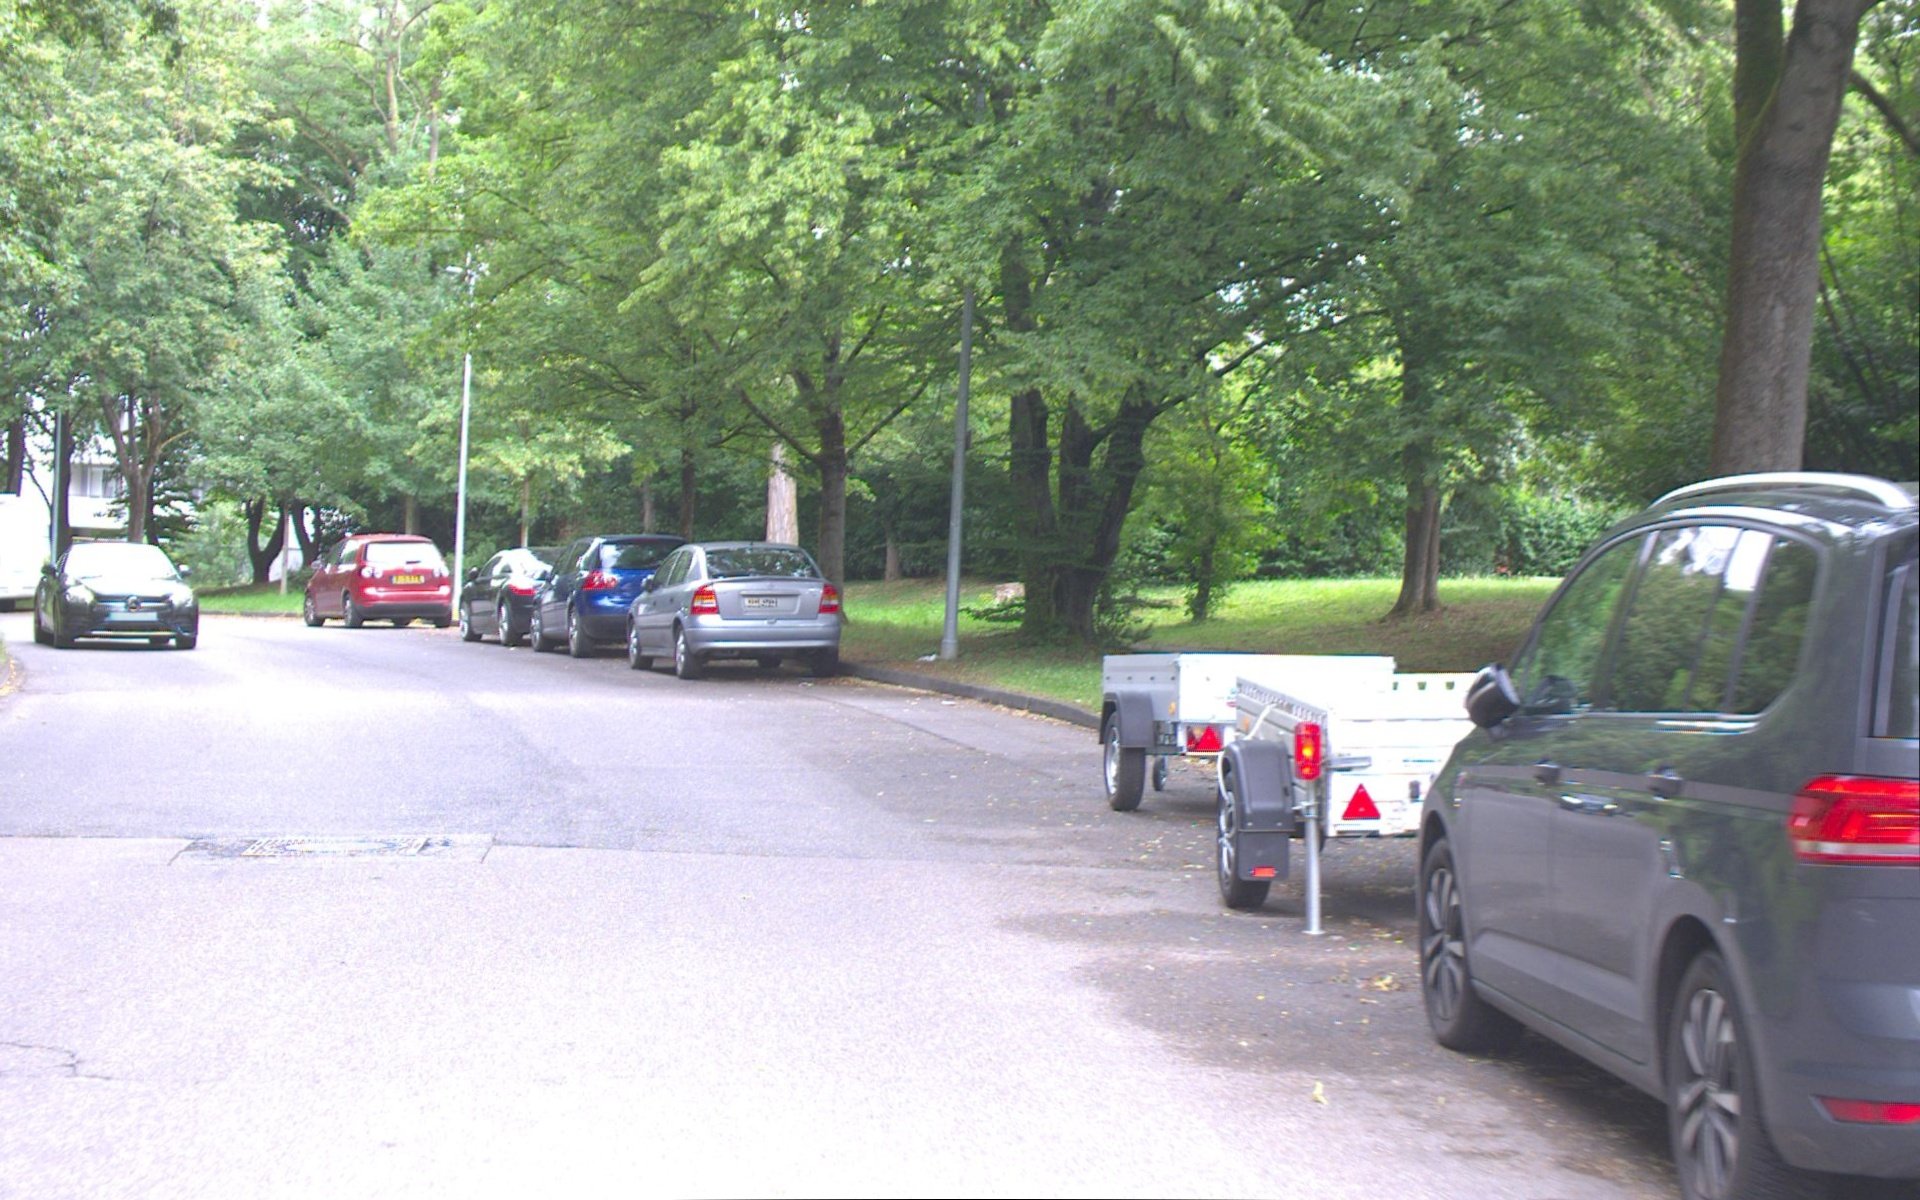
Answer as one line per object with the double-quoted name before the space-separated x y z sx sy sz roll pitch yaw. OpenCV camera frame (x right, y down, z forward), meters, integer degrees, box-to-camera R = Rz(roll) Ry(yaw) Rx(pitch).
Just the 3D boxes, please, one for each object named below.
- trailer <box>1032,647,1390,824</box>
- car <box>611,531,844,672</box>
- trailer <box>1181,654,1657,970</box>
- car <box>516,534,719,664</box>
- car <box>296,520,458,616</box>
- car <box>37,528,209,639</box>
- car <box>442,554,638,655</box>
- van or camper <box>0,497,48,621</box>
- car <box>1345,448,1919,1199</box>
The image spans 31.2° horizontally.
"trailer" 1.346 0.731 19.536 1.363 0.845 3.279 2 0 -7
"car" -2.561 -0.011 37.071 1.717 1.426 3.950 0 1 -16
"trailer" 1.837 0.823 14.760 1.357 0.965 3.893 2 1 -2
"car" -4.387 -0.012 43.543 1.713 1.504 4.182 2 -1 -17
"car" -9.915 -0.523 58.257 1.738 1.557 4.001 0 0 -25
"car" -11.511 -0.223 47.075 1.790 1.384 4.493 2 -1 -20
"car" -5.919 0.047 48.066 1.749 1.332 4.417 1 0 -20
"van or camper" -24.530 -1.023 84.605 2.429 2.997 5.208 -1 1 -35
"car" 2.307 0.557 8.668 1.775 1.657 4.841 2 1 -4
